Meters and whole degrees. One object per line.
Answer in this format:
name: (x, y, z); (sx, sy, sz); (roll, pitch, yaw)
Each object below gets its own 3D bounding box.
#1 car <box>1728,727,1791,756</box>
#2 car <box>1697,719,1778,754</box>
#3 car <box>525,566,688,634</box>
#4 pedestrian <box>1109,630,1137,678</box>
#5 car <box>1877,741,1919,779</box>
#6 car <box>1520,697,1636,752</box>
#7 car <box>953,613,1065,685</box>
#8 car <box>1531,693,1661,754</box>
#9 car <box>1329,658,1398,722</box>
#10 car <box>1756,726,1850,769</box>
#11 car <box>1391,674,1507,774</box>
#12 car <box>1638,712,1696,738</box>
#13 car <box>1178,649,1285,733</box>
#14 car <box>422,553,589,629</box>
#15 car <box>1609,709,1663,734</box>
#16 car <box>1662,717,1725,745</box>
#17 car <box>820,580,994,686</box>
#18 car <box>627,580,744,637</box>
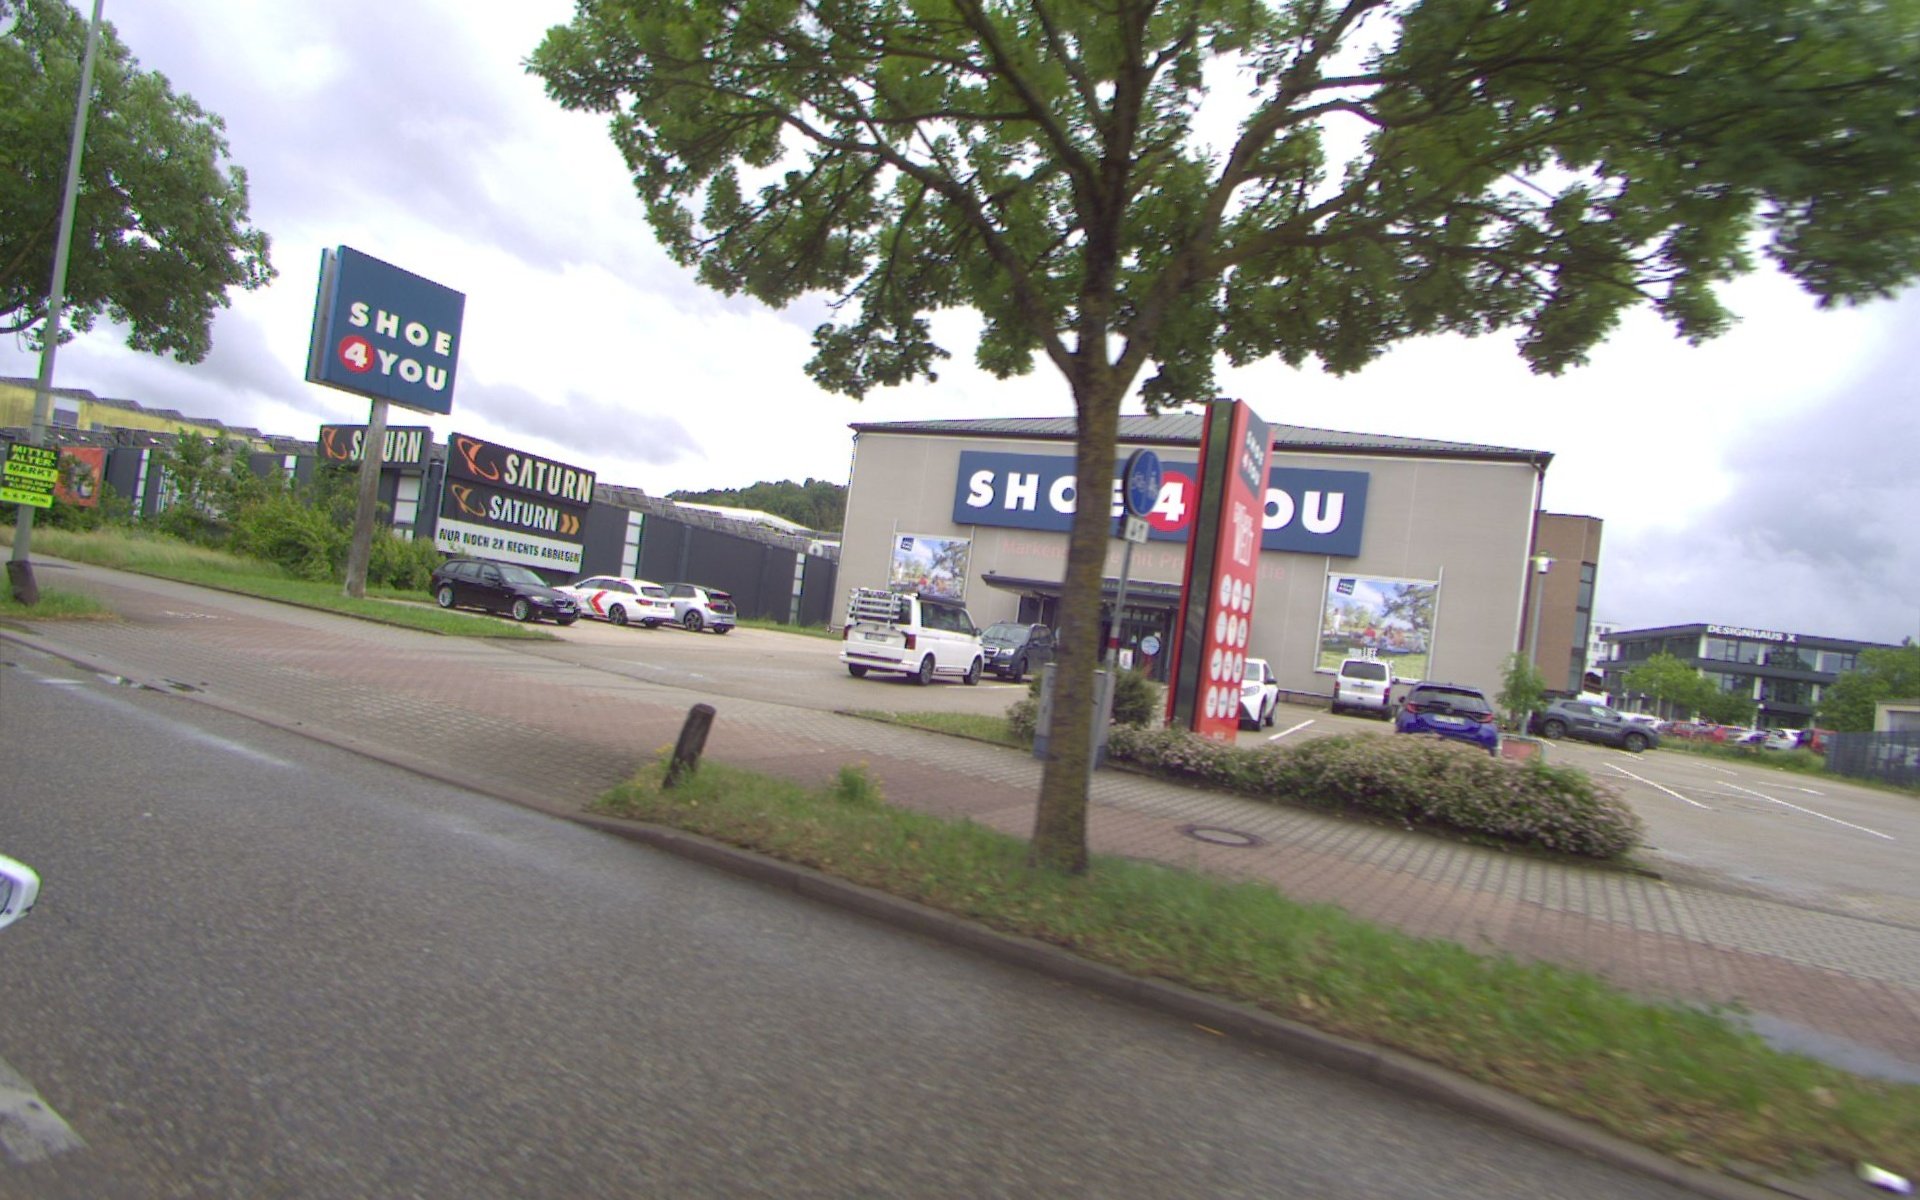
car: (49.406, 8.736, 62.190); (2.664, 1.355, 1.237); (7, -1, 10)
car: (49.970, 8.753, 64.711); (3.623, 1.620, 1.622); (7, -1, 10)
car: (-11.406, 0.003, 32.432); (4.862, 1.485, 1.887); (7, -1, 23)
pedestrian: (6.898, 2.275, 42.641); (0.913, 1.908, 0.771); (7, 0, 12)
car: (41.645, 7.017, 43.026); (3.282, 1.385, 1.336); (7, -3, 33)
car: (26.397, 5.300, 43.123); (3.930, 1.686, 1.672); (7, -1, 27)
car: (1.522, 1.483, 29.393); (1.711, 1.750, 4.258); (7, -1, 24)
car: (24.388, 4.703, 38.732); (3.930, 1.686, 1.672); (7, -1, 27)
car: (14.292, 3.144, 35.484); (1.901, 1.882, 4.257); (7, -1, 24)
car: (48.119, 8.391, 57.482); (3.623, 1.821, 1.622); (7, -1, 10)
car: (9.594, 2.375, 19.884); (1.728, 1.532, 3.999); (7, -1, 25)
car: (53.178, 9.416, 75.711); (3.155, 1.405, 1.507); (7, -1, 10)
car: (6.182, 2.022, 22.652); (1.646, 1.532, 3.651); (7, -1, 24)
car: (-12.328, -0.246, 27.262); (4.188, 1.445, 1.583); (7, -1, 23)
car: (54.280, 9.779, 80.828); (3.155, 1.508, 1.431); (7, -1, 10)
car: (52.072, 9.304, 71.480); (3.155, 1.405, 1.507); (7, -1, 10)
car: (-1.083, 0.856, 23.577); (1.954, 2.037, 4.837); (6, -1, 23)
car: (-9.444, 0.293, 34.606); (3.522, 1.458, 1.585); (7, -1, 23)
